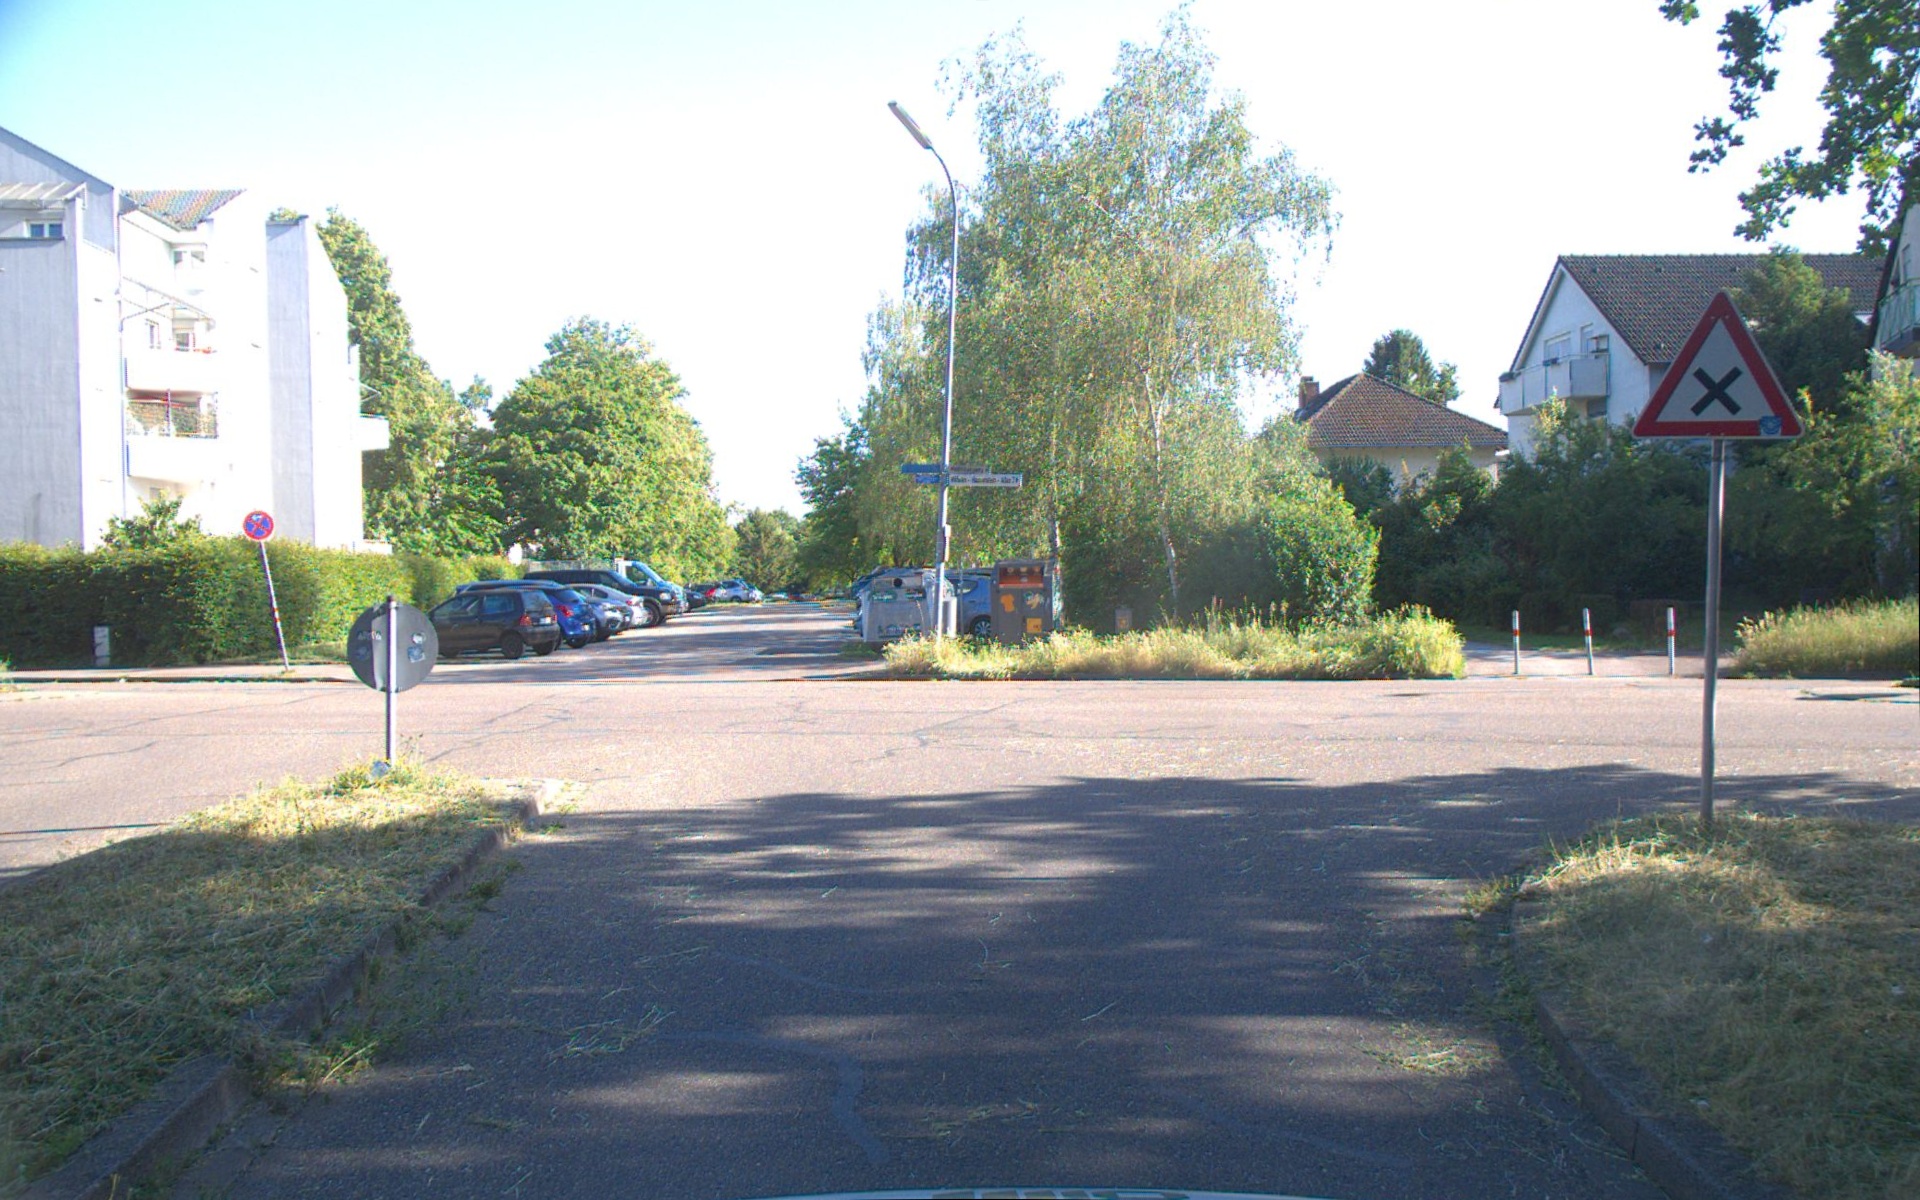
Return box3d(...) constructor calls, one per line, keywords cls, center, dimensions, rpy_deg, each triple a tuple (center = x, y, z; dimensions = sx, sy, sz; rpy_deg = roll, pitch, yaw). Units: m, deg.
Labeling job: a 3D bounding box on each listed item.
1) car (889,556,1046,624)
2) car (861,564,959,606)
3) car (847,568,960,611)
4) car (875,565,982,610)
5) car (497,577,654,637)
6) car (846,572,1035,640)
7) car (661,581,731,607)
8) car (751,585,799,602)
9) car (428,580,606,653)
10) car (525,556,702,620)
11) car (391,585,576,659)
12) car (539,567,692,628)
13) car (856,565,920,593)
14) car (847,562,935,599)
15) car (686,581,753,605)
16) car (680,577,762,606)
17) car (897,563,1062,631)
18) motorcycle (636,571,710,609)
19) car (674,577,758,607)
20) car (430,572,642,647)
box3d(cls="car", center=(0.181, -0.303, 45.243), dimensions=(4.029, 1.735, 1.787), rpy_deg=(-1, 2, -10))
box3d(cls="car", center=(-2.005, -0.603, 67.008), dimensions=(3.905, 1.613, 1.797), rpy_deg=(-1, 0, -1))
box3d(cls="car", center=(-1.960, -0.374, 58.239), dimensions=(3.905, 1.425, 1.797), rpy_deg=(-1, 0, -1))
box3d(cls="car", center=(-1.146, -0.472, 61.509), dimensions=(3.905, 1.613, 1.797), rpy_deg=(-1, 0, -1))
box3d(cls="car", center=(-10.804, 0.180, 46.653), dimensions=(4.064, 1.480, 1.617), rpy_deg=(-3, 1, -6))
box3d(cls="car", center=(-0.401, 0.128, 36.826), dimensions=(3.966, 1.464, 1.636), rpy_deg=(0, 1, 9))
box3d(cls="car", center=(-15.422, -0.361, 96.927), dimensions=(3.862, 1.357, 1.845), rpy_deg=(-2, 1, -5))
box3d(cls="car", center=(-14.475, -0.536, 129.439), dimensions=(3.573, 1.233, 1.845), rpy_deg=(-2, 1, -5))
box3d(cls="car", center=(-10.336, 0.377, 38.728), dimensions=(3.601, 1.522, 1.653), rpy_deg=(-2, 1, 9))
box3d(cls="car", center=(-12.785, -0.458, 61.404), dimensions=(6.135, 2.184, 2.408), rpy_deg=(-2, 1, -6))
box3d(cls="car", center=(-10.405, 0.471, 36.209), dimensions=(3.447, 1.492, 1.705), rpy_deg=(-1, 1, 13))
box3d(cls="car", center=(-10.956, -0.103, 52.765), dimensions=(4.429, 1.802, 1.847), rpy_deg=(-1, 1, 1))
box3d(cls="car", center=(-4.506, -1.324, 103.995), dimensions=(3.905, 1.738, 1.797), rpy_deg=(-1, 0, -1))
box3d(cls="car", center=(-3.117, -0.889, 75.485), dimensions=(3.905, 1.613, 1.797), rpy_deg=(-1, 0, -1))
box3d(cls="car", center=(-14.549, -0.437, 100.324), dimensions=(3.862, 1.357, 1.845), rpy_deg=(-2, 1, -5))
box3d(cls="car", center=(-11.936, -0.426, 82.817), dimensions=(3.862, 1.357, 1.845), rpy_deg=(-2, 1, -5))
box3d(cls="car", center=(0.470, -0.107, 42.373), dimensions=(3.978, 1.631, 1.787), rpy_deg=(-1, 2, -9))
box3d(cls="motorcycle", center=(-12.802, -0.441, 73.944), dimensions=(3.127, 1.624, 0.923), rpy_deg=(-2, 1, -3))
box3d(cls="car", center=(-11.702, -0.398, 79.514), dimensions=(3.862, 1.357, 1.845), rpy_deg=(-2, 1, -5))
box3d(cls="car", center=(-10.864, 0.223, 42.583), dimensions=(4.888, 1.683, 1.785), rpy_deg=(-2, 1, 2))
